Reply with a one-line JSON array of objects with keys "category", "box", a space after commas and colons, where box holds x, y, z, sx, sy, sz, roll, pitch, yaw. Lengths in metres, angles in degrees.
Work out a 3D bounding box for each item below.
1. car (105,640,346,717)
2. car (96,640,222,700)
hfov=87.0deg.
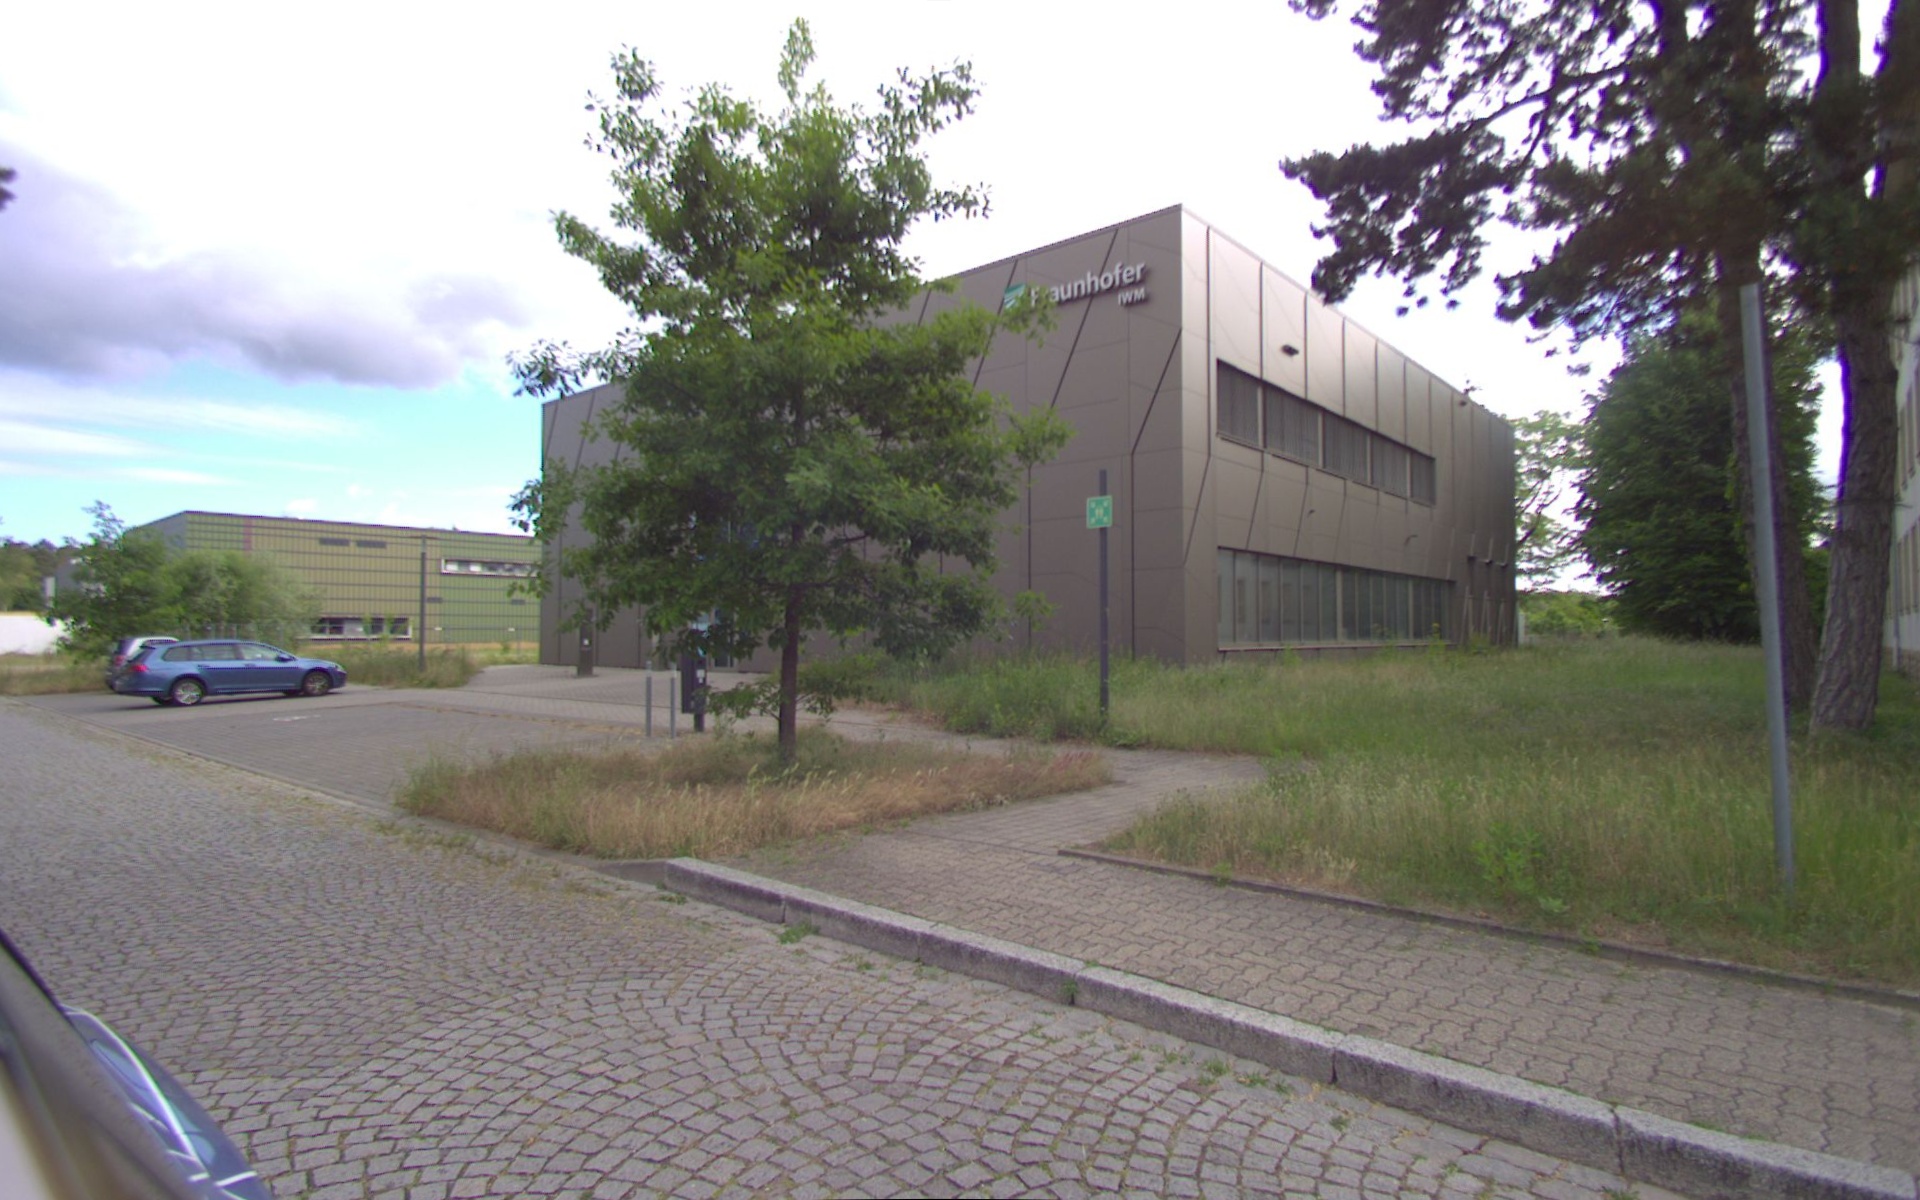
[{"category": "car", "box": [-17.340, 1.781, 24.077, 1.631, 1.481, 4.372, -2, -1, 38]}, {"category": "car", "box": [-22.871, 1.951, 28.939, 1.499, 1.541, 2.552, -2, -1, 39]}]
